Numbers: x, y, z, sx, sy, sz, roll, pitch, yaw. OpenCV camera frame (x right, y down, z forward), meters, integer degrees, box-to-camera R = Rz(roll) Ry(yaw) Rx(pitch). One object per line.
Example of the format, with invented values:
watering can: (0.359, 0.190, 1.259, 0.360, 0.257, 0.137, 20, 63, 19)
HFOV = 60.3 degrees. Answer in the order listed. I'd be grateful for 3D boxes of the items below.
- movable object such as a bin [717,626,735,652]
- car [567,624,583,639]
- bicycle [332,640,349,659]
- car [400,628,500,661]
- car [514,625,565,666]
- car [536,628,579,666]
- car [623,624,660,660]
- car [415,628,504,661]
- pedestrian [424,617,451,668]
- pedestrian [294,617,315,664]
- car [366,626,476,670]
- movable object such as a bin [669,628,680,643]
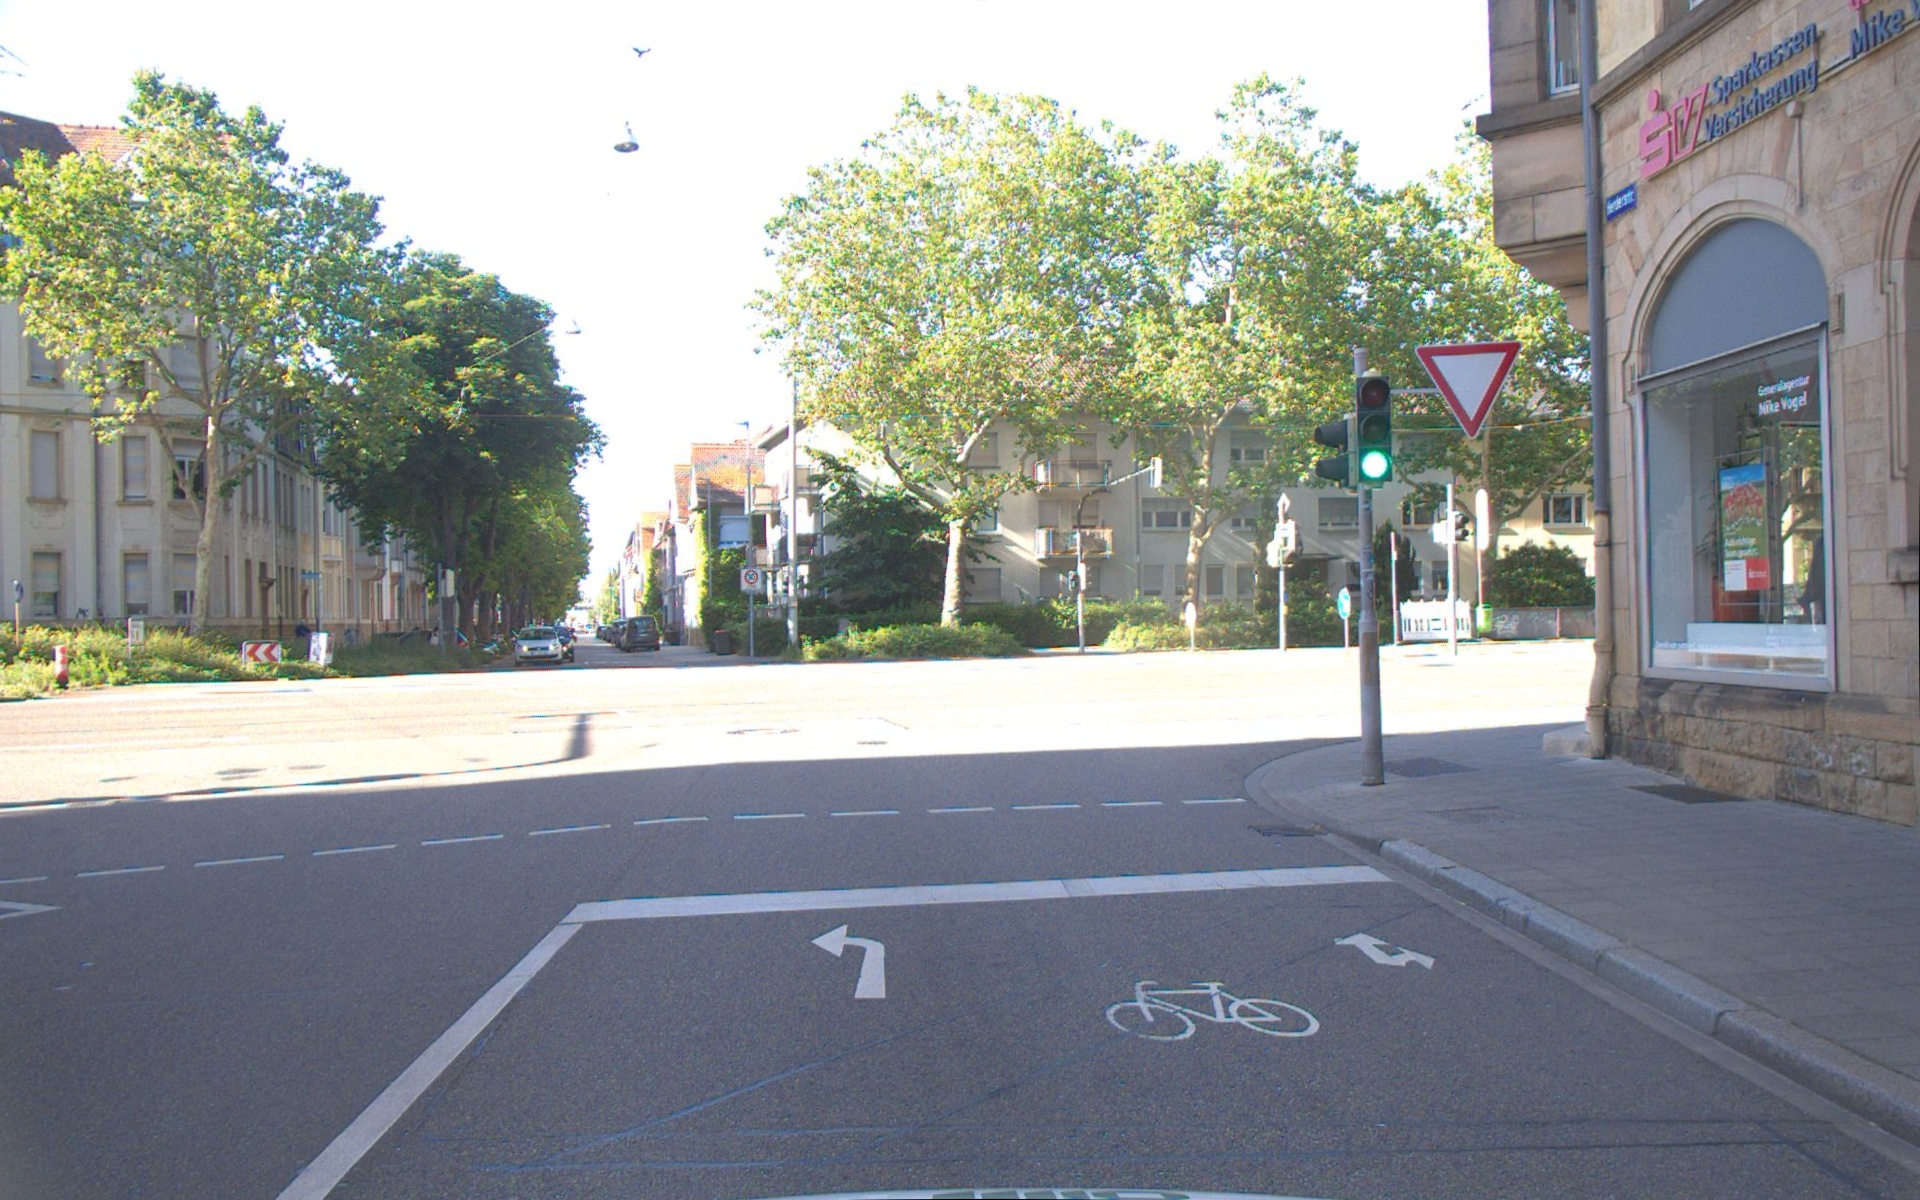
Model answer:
movable object such as a bin: (-10.270, 1.715, 72.578, 0.587, 1.062, 0.704, -5, 0, -16)
car: (-41.124, 3.399, 176.771, 1.613, 1.534, 3.689, -2, 0, -14)
bicycle: (-27.064, 2.159, 72.215, 0.563, 0.830, 0.963, 2, -2, -15)
car: (-22.860, 1.998, 74.242, 4.140, 1.372, 1.697, -1, -2, -14)
car: (-16.085, 1.749, 63.345, 1.776, 1.484, 3.985, -1, -2, -14)
car: (-16.797, 1.941, 69.089, 1.632, 1.490, 3.796, -1, -1, -12)
car: (-18.289, 2.382, 94.859, 1.833, 1.949, 4.766, 3, -2, -13)
car: (-23.832, 2.096, 78.883, 3.917, 1.508, 1.779, 0, -1, -13)
pedestrian: (-17.753, 1.439, 56.229, 0.680, 1.711, 0.680, -1, -1, -3)
pedestrian: (-23.522, 1.449, 59.365, 0.451, 1.687, 0.893, -1, -1, -5)
car: (-20.567, 1.837, 63.251, 3.817, 1.501, 1.609, -2, -1, -14)
movable object such as a bin: (-19.974, 2.470, 115.778, 0.637, 1.058, 0.824, -2, -1, -16)
